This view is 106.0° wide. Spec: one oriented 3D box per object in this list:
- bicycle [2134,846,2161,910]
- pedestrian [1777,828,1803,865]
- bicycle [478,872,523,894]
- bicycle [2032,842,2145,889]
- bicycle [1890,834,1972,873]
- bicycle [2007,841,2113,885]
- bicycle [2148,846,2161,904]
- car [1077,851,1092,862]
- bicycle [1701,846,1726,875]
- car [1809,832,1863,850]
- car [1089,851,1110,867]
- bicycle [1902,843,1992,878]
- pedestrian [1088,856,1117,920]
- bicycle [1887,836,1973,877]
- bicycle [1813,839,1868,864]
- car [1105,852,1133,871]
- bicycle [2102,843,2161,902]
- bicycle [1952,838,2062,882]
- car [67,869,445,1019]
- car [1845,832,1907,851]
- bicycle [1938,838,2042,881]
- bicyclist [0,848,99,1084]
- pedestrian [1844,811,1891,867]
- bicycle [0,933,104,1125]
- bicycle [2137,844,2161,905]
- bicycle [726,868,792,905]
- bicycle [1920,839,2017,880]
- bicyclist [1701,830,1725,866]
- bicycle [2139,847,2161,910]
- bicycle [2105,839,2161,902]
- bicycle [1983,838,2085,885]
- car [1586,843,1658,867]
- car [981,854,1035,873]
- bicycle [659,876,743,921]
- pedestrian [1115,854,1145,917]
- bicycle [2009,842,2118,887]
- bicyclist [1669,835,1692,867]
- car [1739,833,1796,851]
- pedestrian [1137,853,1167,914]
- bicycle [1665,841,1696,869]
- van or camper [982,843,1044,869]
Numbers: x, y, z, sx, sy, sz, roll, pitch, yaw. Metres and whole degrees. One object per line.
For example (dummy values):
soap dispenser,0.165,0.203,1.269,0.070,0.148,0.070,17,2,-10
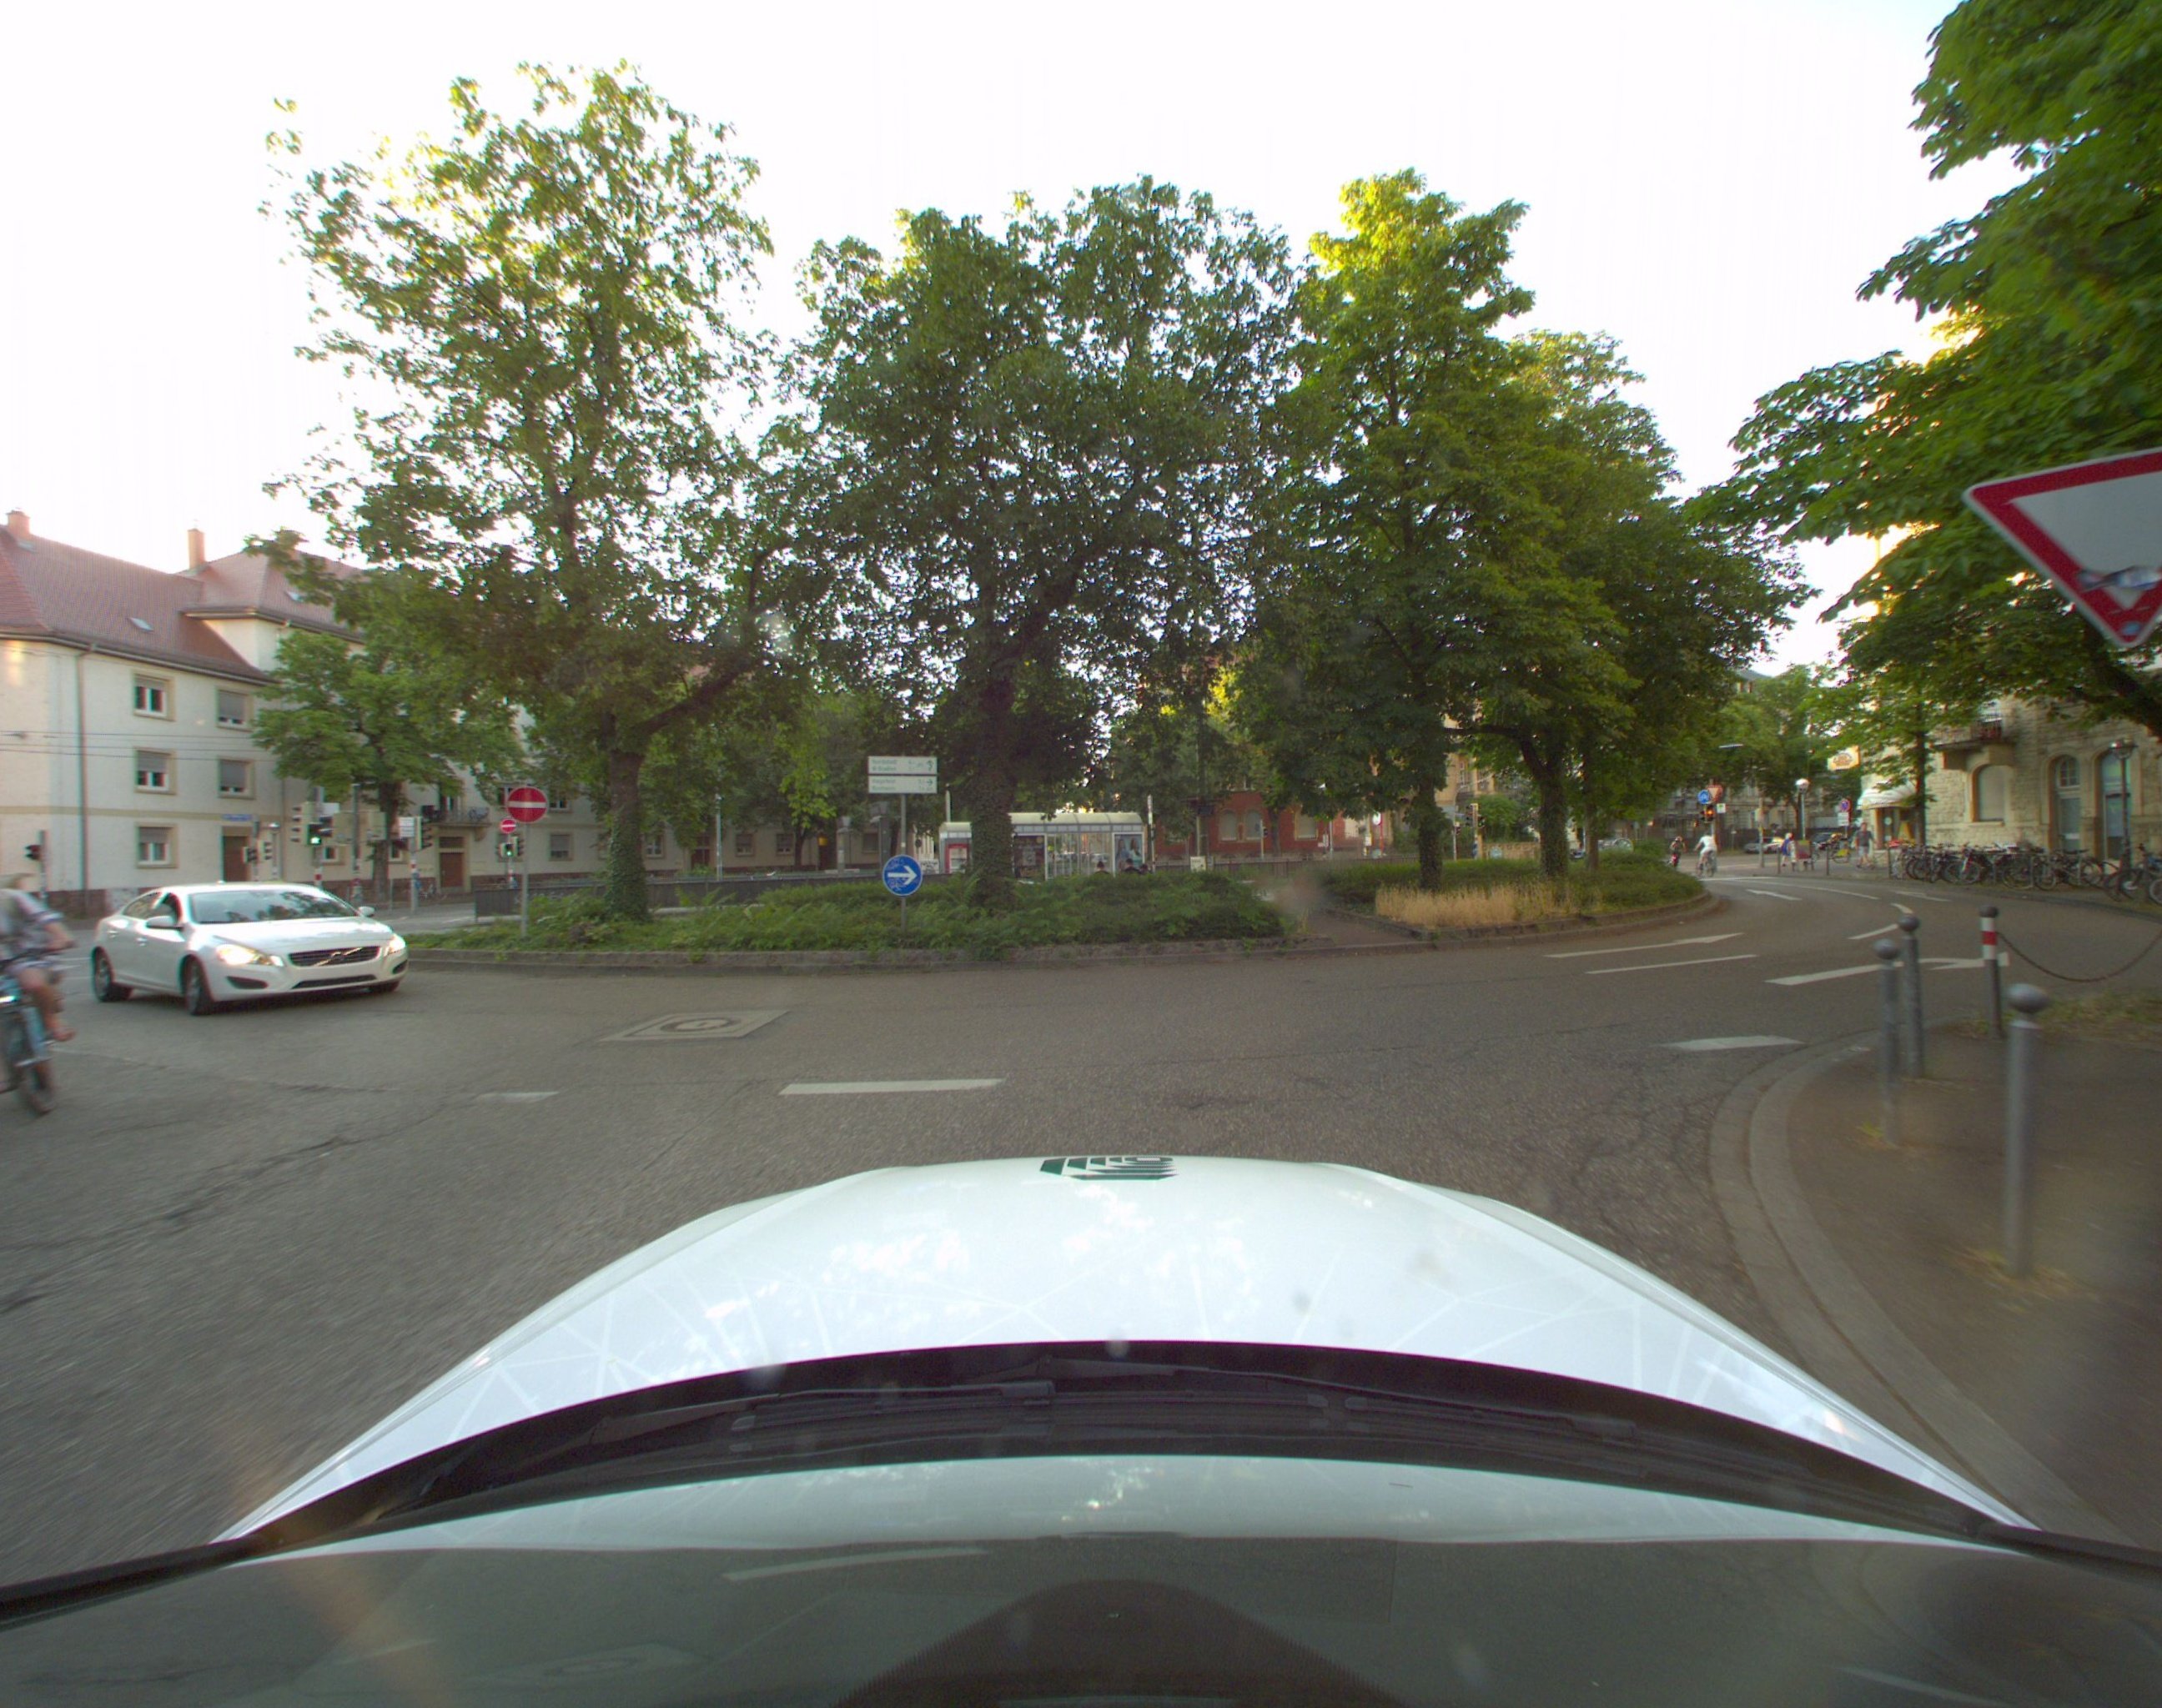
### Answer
bicycle,20.723,0.431,14.794,1.832,1.131,0.421,-2,-19,43
pedestrian,34.576,-0.374,39.720,0.859,1.794,0.930,-2,0,38
bicycle,-32.623,1.611,45.805,0.677,1.151,1.932,-1,0,32
bicycle,24.273,0.276,19.659,1.654,1.078,0.489,-2,0,25
bicycle,27.997,-0.013,26.855,1.774,1.236,0.653,-2,0,14
bicycle,25.148,0.235,20.949,1.653,1.078,0.489,-2,0,32
bicycle,21.564,0.382,15.284,1.834,1.104,0.576,-2,0,19
car,0.539,0.336,124.333,1.989,1.703,4.714,0,0,-3
bicycle,25.040,0.249,32.269,0.691,1.055,1.804,-2,0,36
car,68.841,-1.187,74.258,4.170,1.482,1.937,-2,0,-21
car,1.994,0.547,88.803,1.989,1.703,4.714,0,0,-3
bicycle,26.816,0.193,25.234,1.787,1.038,0.703,-2,0,16
pedestrian,0.504,0.775,18.987,0.614,1.431,0.655,-1,0,-1
bicycle,27.134,0.087,26.045,1.773,1.236,0.703,-2,0,16
bicycle,37.222,-0.117,39.944,1.854,1.130,0.736,-2,0,30
car,3.346,0.644,72.536,1.989,1.703,4.714,0,0,-3
bicycle,21.893,0.366,16.224,1.861,1.139,0.495,0,4,29
bicycle,25.659,0.178,22.609,1.868,1.162,0.709,-2,0,26
car,-10.719,1.024,10.543,4.780,1.517,2.012,-1,0,26
car,66.222,-1.034,67.870,4.633,1.510,1.937,-2,0,-21
bicycle,25.974,0.168,23.308,1.868,1.162,0.644,-2,0,26
bicyclist,-7.404,0.745,5.666,0.864,1.545,0.683,-2,0,38
pedestrian,30.406,-0.572,31.522,1.001,2.085,1.067,-2,0,28
bicycle,-7.446,1.168,5.711,1.785,1.094,0.690,-2,0,38
bicycle,21.055,0.379,15.038,1.832,1.144,0.421,-2,0,43
bicycle,-9.944,0.995,25.184,1.858,1.051,0.542,-2,0,-24
bicycle,26.166,0.165,24.039,1.871,1.162,0.643,-2,0,16
bicyclist,24.983,-0.243,32.215,0.691,1.411,0.870,-2,0,36
bicycle,20.543,0.439,14.582,1.832,1.093,0.421,-2,-19,43
bicycle,21.580,0.325,15.913,1.861,1.217,0.495,-2,-6,43
bicycle,24.999,0.207,21.396,1.653,1.127,0.490,-2,6,34
car,37.708,0.073,56.789,4.421,1.510,1.937,-2,0,-21
car,-6.784,0.879,75.998,4.945,1.703,1.995,0,0,-7
bicycle,-10.890,1.246,23.384,2.119,1.151,0.680,-2,0,-26
pedestrian,1.152,0.718,19.110,0.614,1.431,0.655,-1,0,-1
bicycle,24.330,0.271,20.204,1.654,1.078,0.489,-2,0,25
bicyclist,27.955,-0.140,37.981,0.788,1.461,0.691,-1,0,-39
car,59.415,-1.040,70.448,4.639,1.426,1.994,-2,0,-25
pedestrian,1.703,0.693,19.499,0.614,1.431,0.655,-1,0,-1
bicycle,27.962,0.041,37.987,1.872,1.236,0.691,-2,0,-40
van or camper,-8.264,0.208,98.673,7.358,3.083,2.667,0,0,-7
